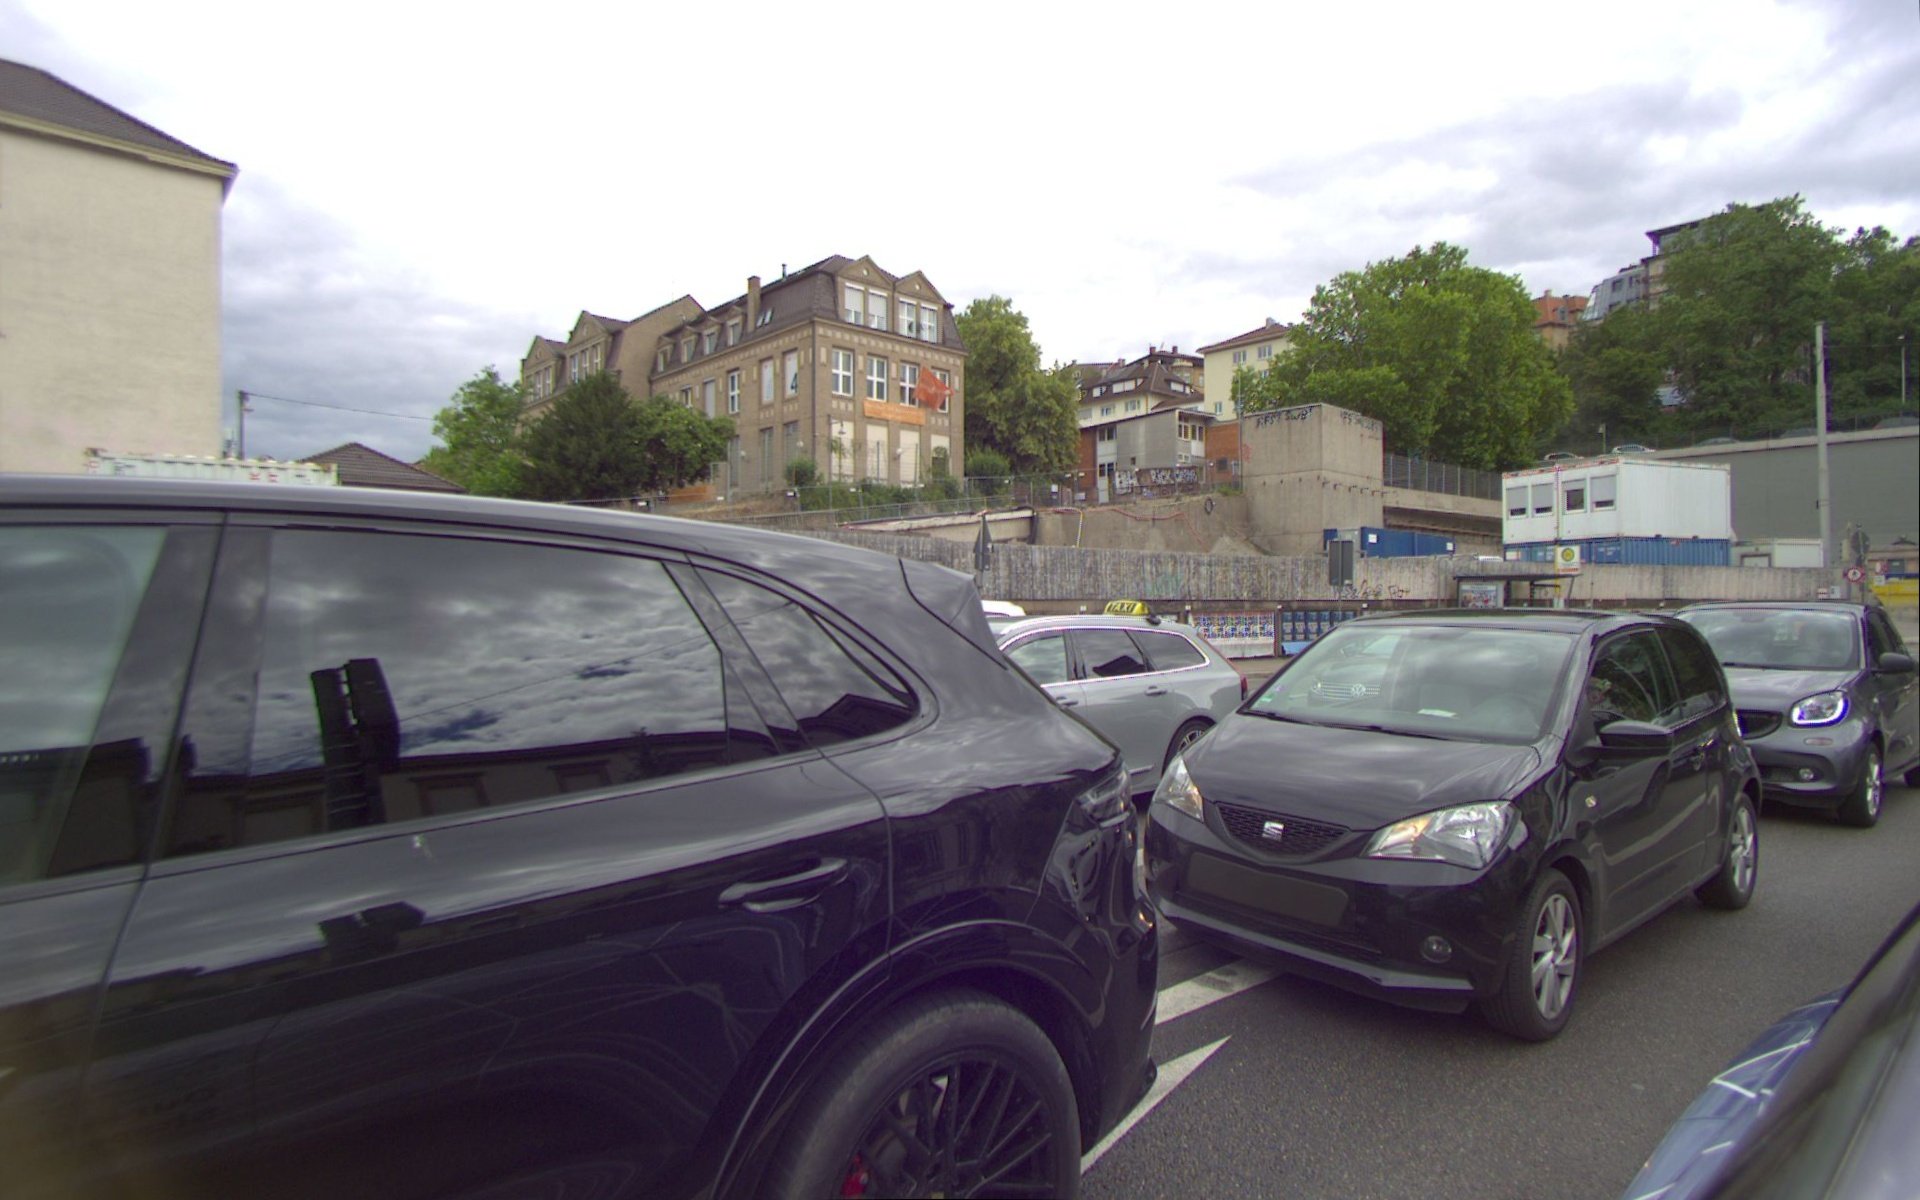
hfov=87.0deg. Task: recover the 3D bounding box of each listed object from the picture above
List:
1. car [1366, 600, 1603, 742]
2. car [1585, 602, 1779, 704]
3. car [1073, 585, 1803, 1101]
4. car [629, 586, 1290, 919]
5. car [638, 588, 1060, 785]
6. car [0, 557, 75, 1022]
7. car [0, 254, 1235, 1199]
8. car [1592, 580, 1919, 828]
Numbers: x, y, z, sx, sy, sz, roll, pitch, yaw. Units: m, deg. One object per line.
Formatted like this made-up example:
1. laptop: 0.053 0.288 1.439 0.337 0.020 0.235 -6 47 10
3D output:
1. car: 6.318 0.747 12.133 2.667 1.449 1.664 -1 0 -41
2. car: 11.514 0.745 16.062 3.740 1.383 1.679 -1 0 -41
3. car: 2.443 0.677 4.798 3.636 1.476 1.827 -1 0 -41
4. car: 0.276 0.729 7.269 4.725 1.645 1.827 -1 0 -41
5. car: -1.000 0.706 10.486 4.136 1.645 1.679 -1 0 -41
6. car: -5.297 0.687 3.046 3.930 1.645 1.679 -1 0 -41
7. car: -1.615 0.528 1.608 4.406 1.737 1.827 -1 0 -41
8. car: 6.715 0.659 8.193 3.511 1.563 1.720 0 0 -40
